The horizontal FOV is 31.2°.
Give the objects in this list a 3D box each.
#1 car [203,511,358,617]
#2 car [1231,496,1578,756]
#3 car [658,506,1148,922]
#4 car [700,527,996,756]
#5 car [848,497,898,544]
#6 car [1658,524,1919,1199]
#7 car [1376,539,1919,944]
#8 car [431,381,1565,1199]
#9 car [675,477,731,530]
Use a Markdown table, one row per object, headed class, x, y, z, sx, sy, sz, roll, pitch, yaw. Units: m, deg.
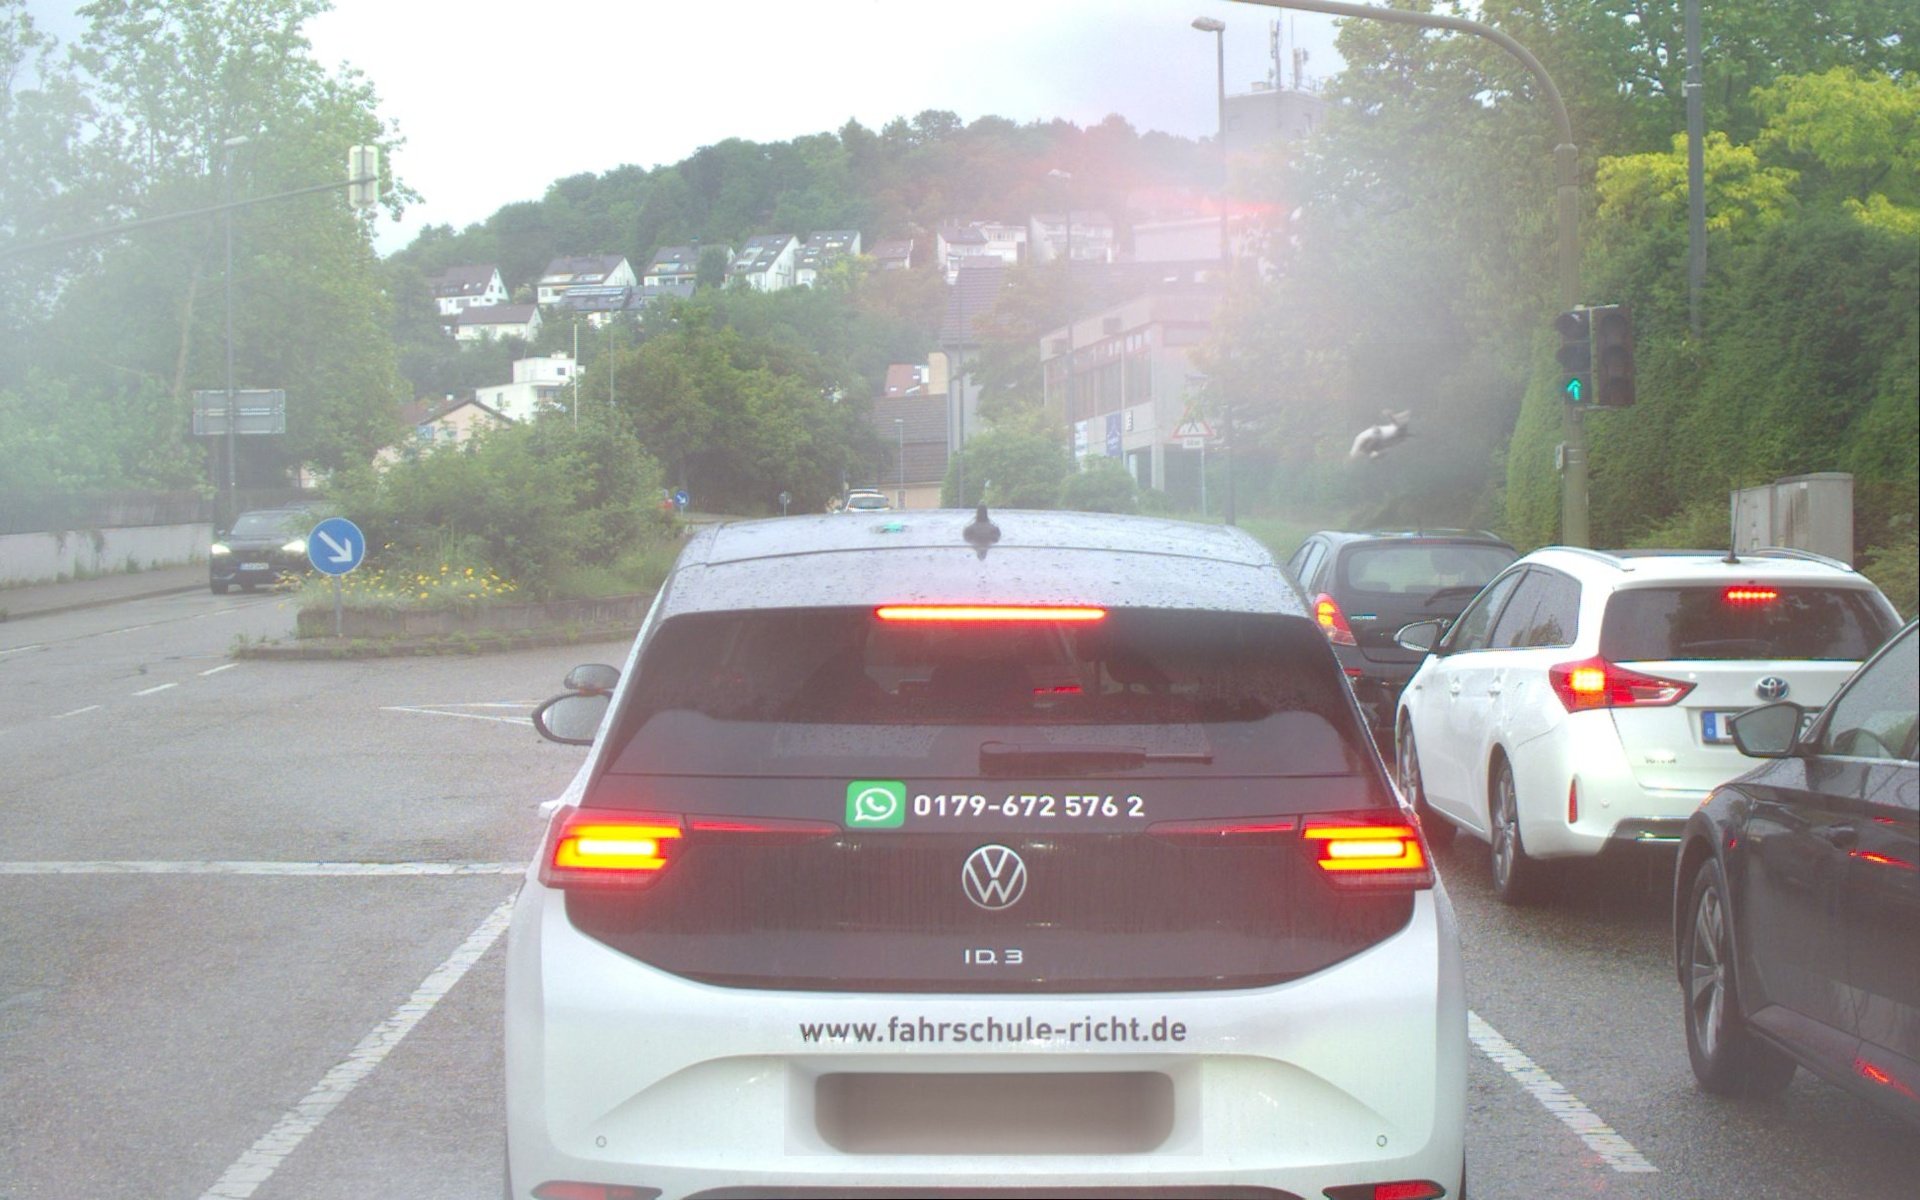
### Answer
| class | x | y | z | sx | sy | sz | roll | pitch | yaw |
| --- | --- | --- | --- | --- | --- | --- | --- | --- | --- |
| car | -12.430 | -0.674 | 63.112 | 1.993 | 1.798 | 4.000 | -3 | 1 | 0 |
| car | 2.908 | 0.135 | 23.269 | 1.775 | 1.576 | 4.000 | 1 | 1 | 0 |
| car | -0.261 | 0.385 | 15.204 | 1.837 | 1.549 | 4.175 | 1 | 1 | -1 |
| car | -0.746 | 0.223 | 23.604 | 1.837 | 1.395 | 3.831 | 1 | 1 | -1 |
| car | -2.836 | -2.580 | 112.147 | 1.581 | 1.462 | 4.000 | -1 | 1 | -1 |
| car | 2.871 | 0.589 | 7.491 | 1.838 | 1.461 | 4.350 | 1 | 1 | 1 |
| car | 3.036 | 0.502 | 14.971 | 1.837 | 1.461 | 4.117 | 1 | 1 | -1 |
| car | 0.012 | 0.416 | 7.965 | 1.837 | 1.623 | 4.616 | 1 | 1 | -1 |
| car | -10.493 | -3.928 | 140.390 | 1.993 | 2.007 | 4.000 | 1 | 0 | 0 |
